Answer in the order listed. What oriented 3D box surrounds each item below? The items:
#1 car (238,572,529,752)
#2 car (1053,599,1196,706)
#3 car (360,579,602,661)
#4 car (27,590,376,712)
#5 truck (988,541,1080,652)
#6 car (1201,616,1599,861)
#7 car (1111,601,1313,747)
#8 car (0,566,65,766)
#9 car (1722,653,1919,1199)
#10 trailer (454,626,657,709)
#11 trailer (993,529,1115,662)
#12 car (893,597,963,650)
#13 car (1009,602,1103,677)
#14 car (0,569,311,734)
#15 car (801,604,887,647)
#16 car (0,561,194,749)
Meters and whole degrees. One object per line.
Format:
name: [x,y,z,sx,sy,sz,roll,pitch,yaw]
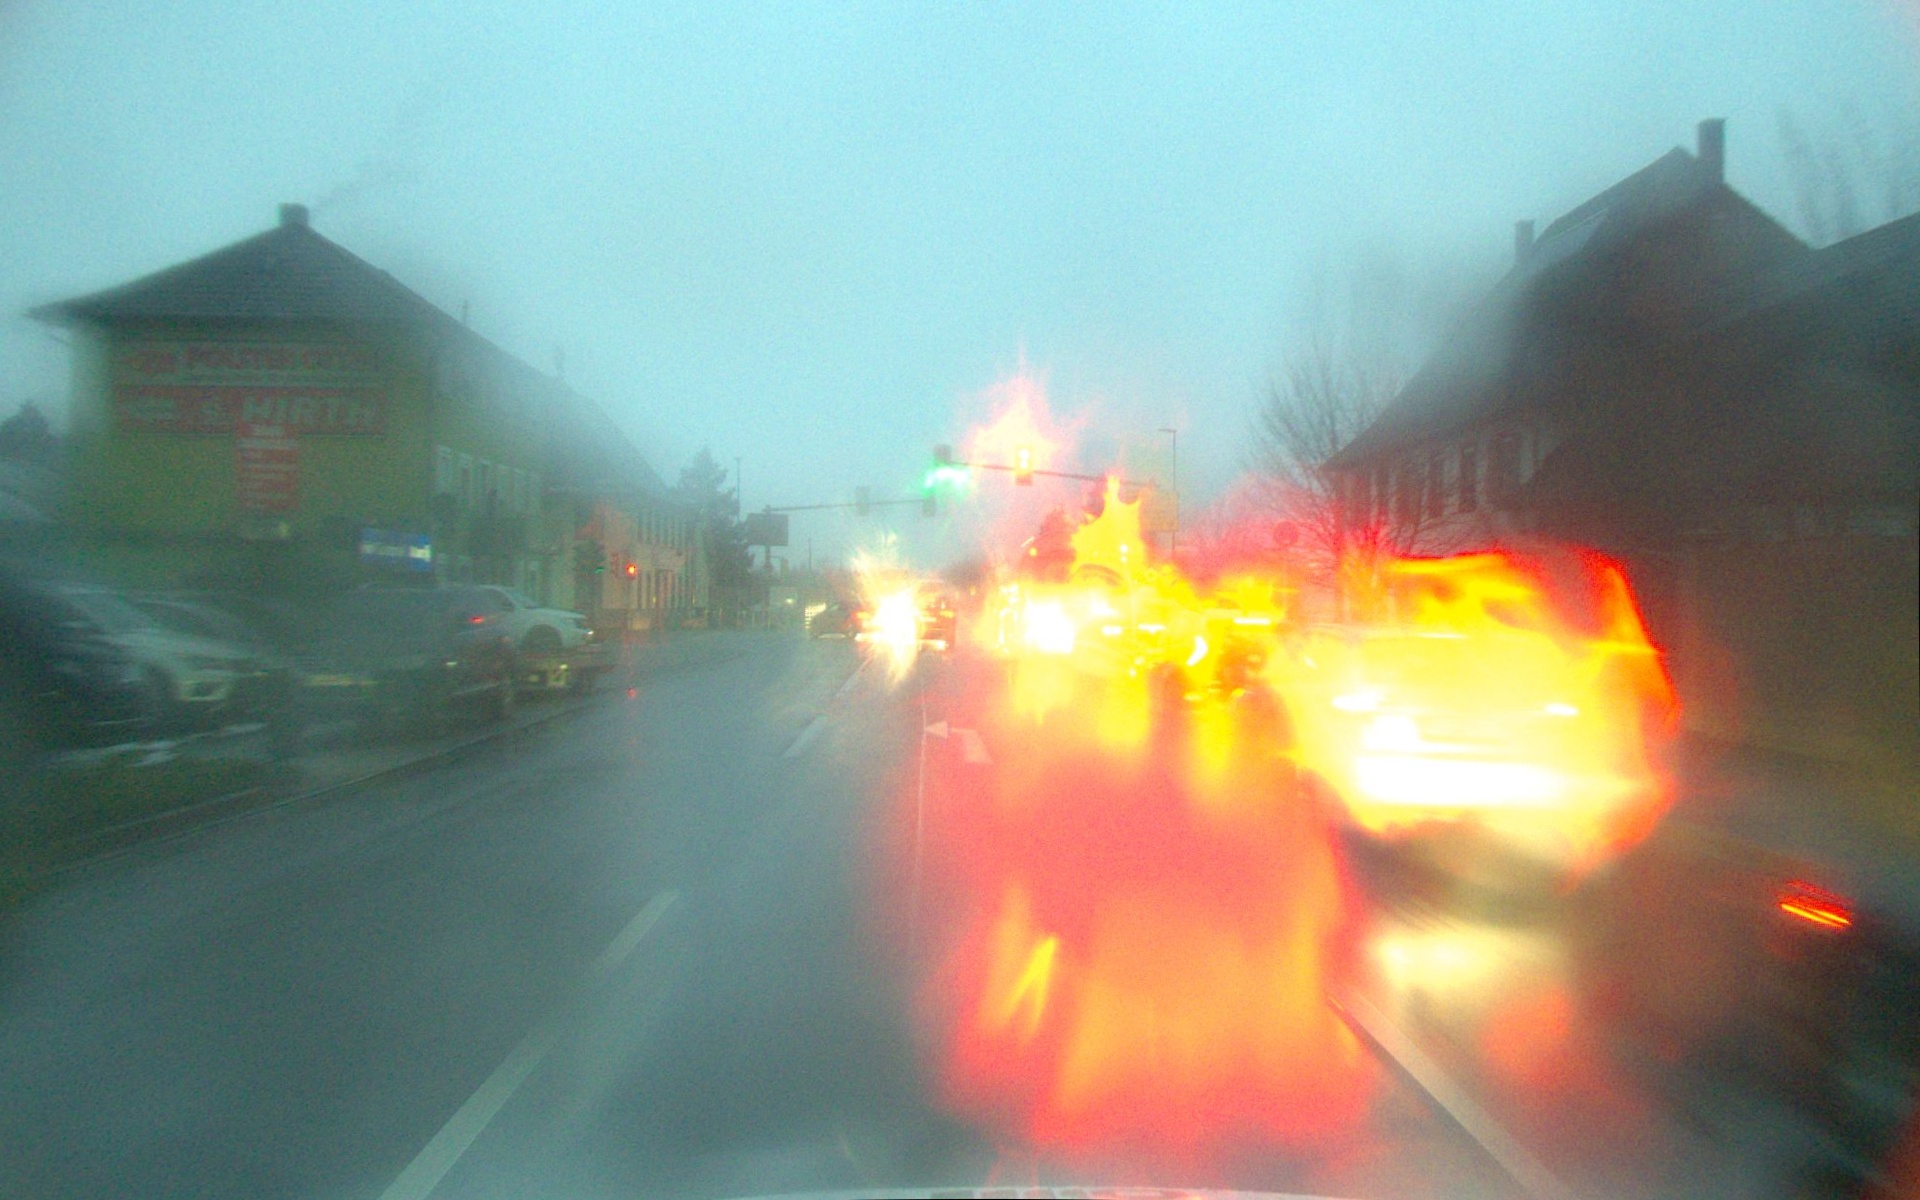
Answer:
car: [-6.617,0.635,19.561,1.931,1.862,4.511,0,0,-1]
car: [2.671,0.816,27.801,1.799,1.595,4.502,2,0,-2]
car: [-11.208,0.465,38.962,5.082,1.822,2.000,1,0,0]
car: [-10.044,0.660,22.108,3.814,1.453,1.719,2,0,-1]
truck: [2.282,-0.095,53.009,2.412,3.286,6.270,1,0,-2]
car: [2.890,0.834,11.819,1.620,1.359,4.271,1,0,-1]
car: [2.908,0.798,19.906,1.667,1.497,4.271,2,0,-1]
car: [-10.227,0.449,13.861,4.190,1.691,2.136,3,0,-1]
car: [3.209,0.871,2.759,1.607,1.390,4.768,1,0,-1]
trailer: [-6.472,1.037,27.261,1.953,1.057,6.102,0,0,-1]
trailer: [2.486,-0.105,47.021,2.438,3.297,10.864,1,0,-2]
car: [-1.083,0.723,53.049,2.007,1.600,4.699,0,0,-4]
car: [2.004,0.798,35.592,1.629,1.464,4.380,2,0,-2]
car: [-10.166,0.547,19.451,4.190,1.655,2.000,3,0,-1]
car: [-4.448,0.956,63.047,3.155,1.534,1.547,2,0,-7]
car: [-10.266,0.434,16.524,4.190,1.691,2.000,3,0,-1]
